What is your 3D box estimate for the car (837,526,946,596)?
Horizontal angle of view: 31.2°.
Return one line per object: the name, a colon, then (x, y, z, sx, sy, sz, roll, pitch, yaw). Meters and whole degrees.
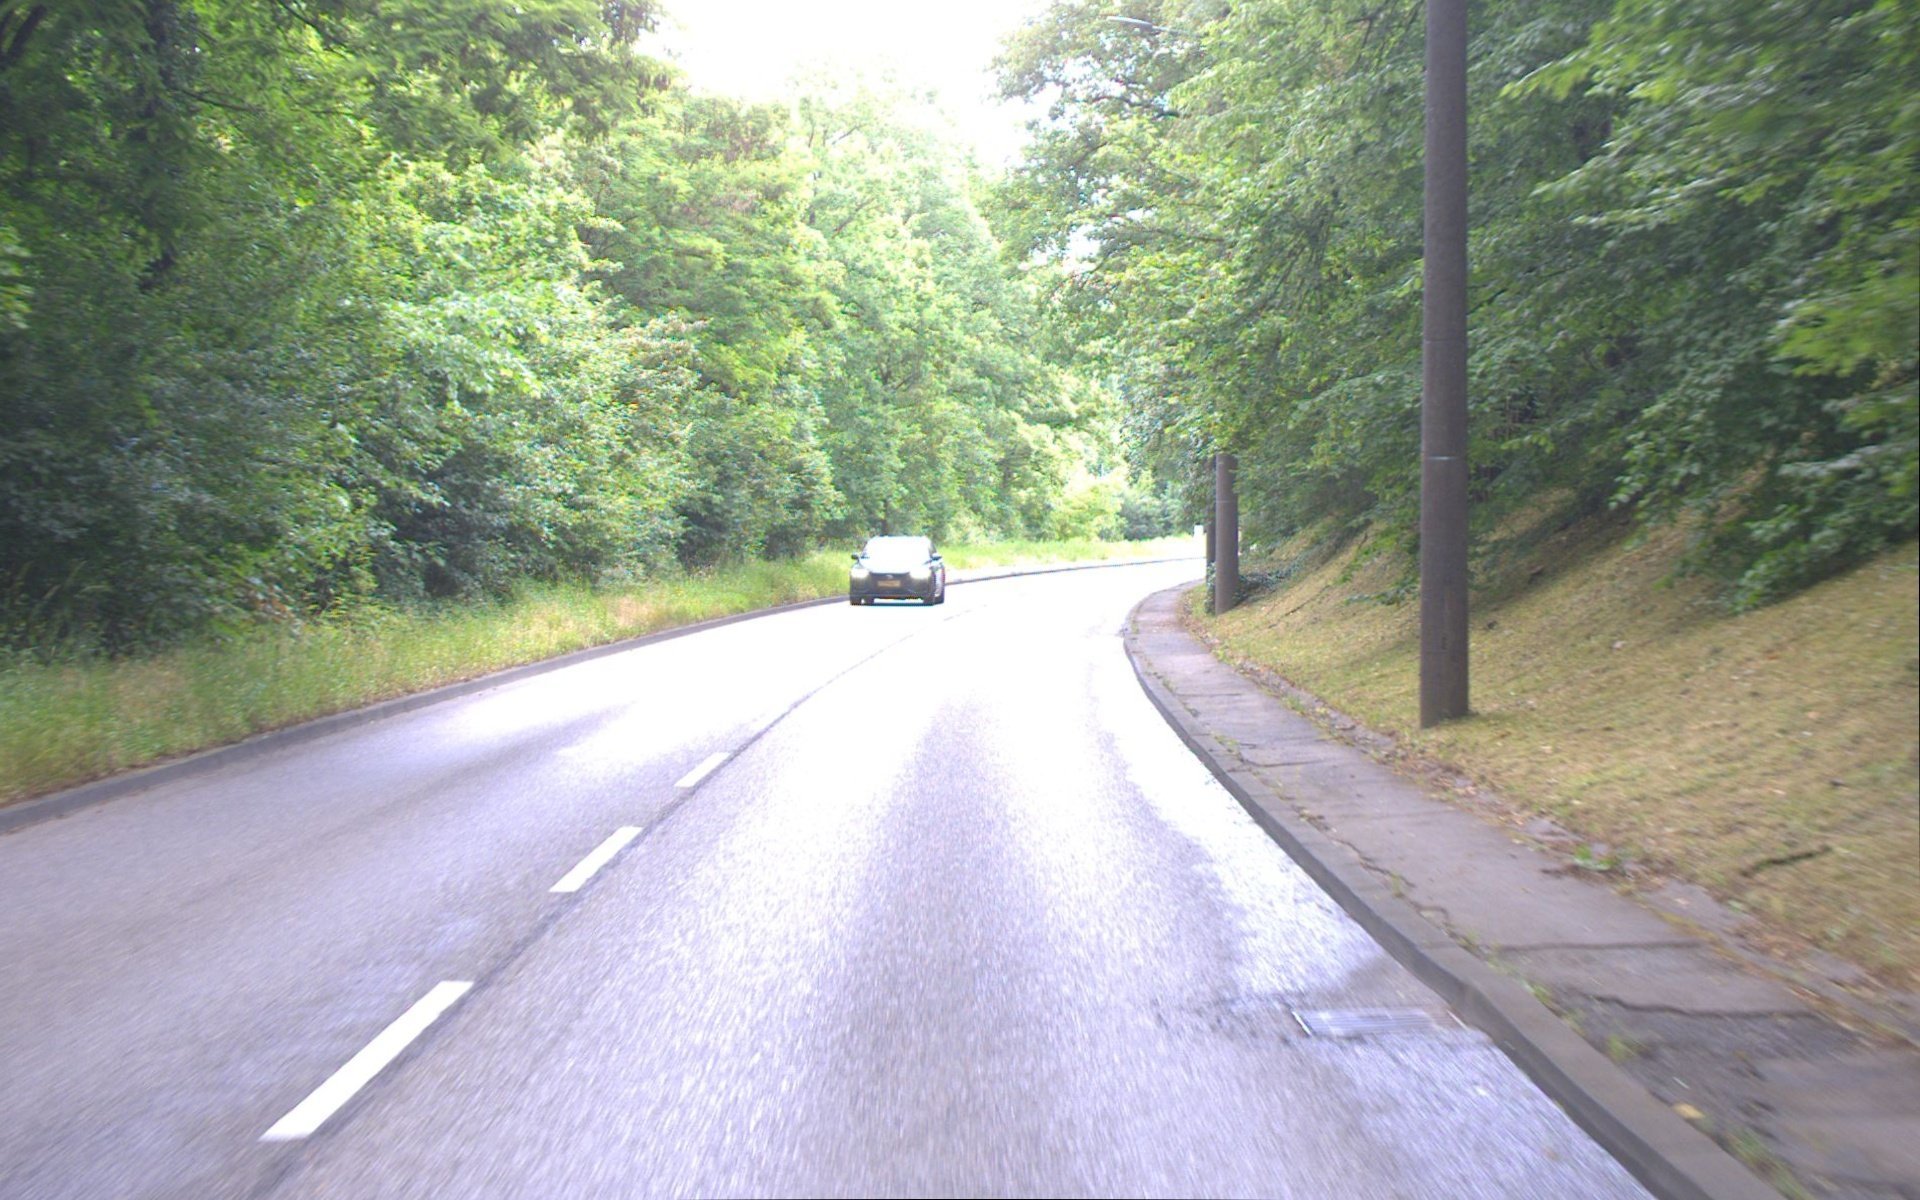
car: (-1.503, -0.836, 74.176, 1.993, 1.432, 4.001, 1, 0, -6)
